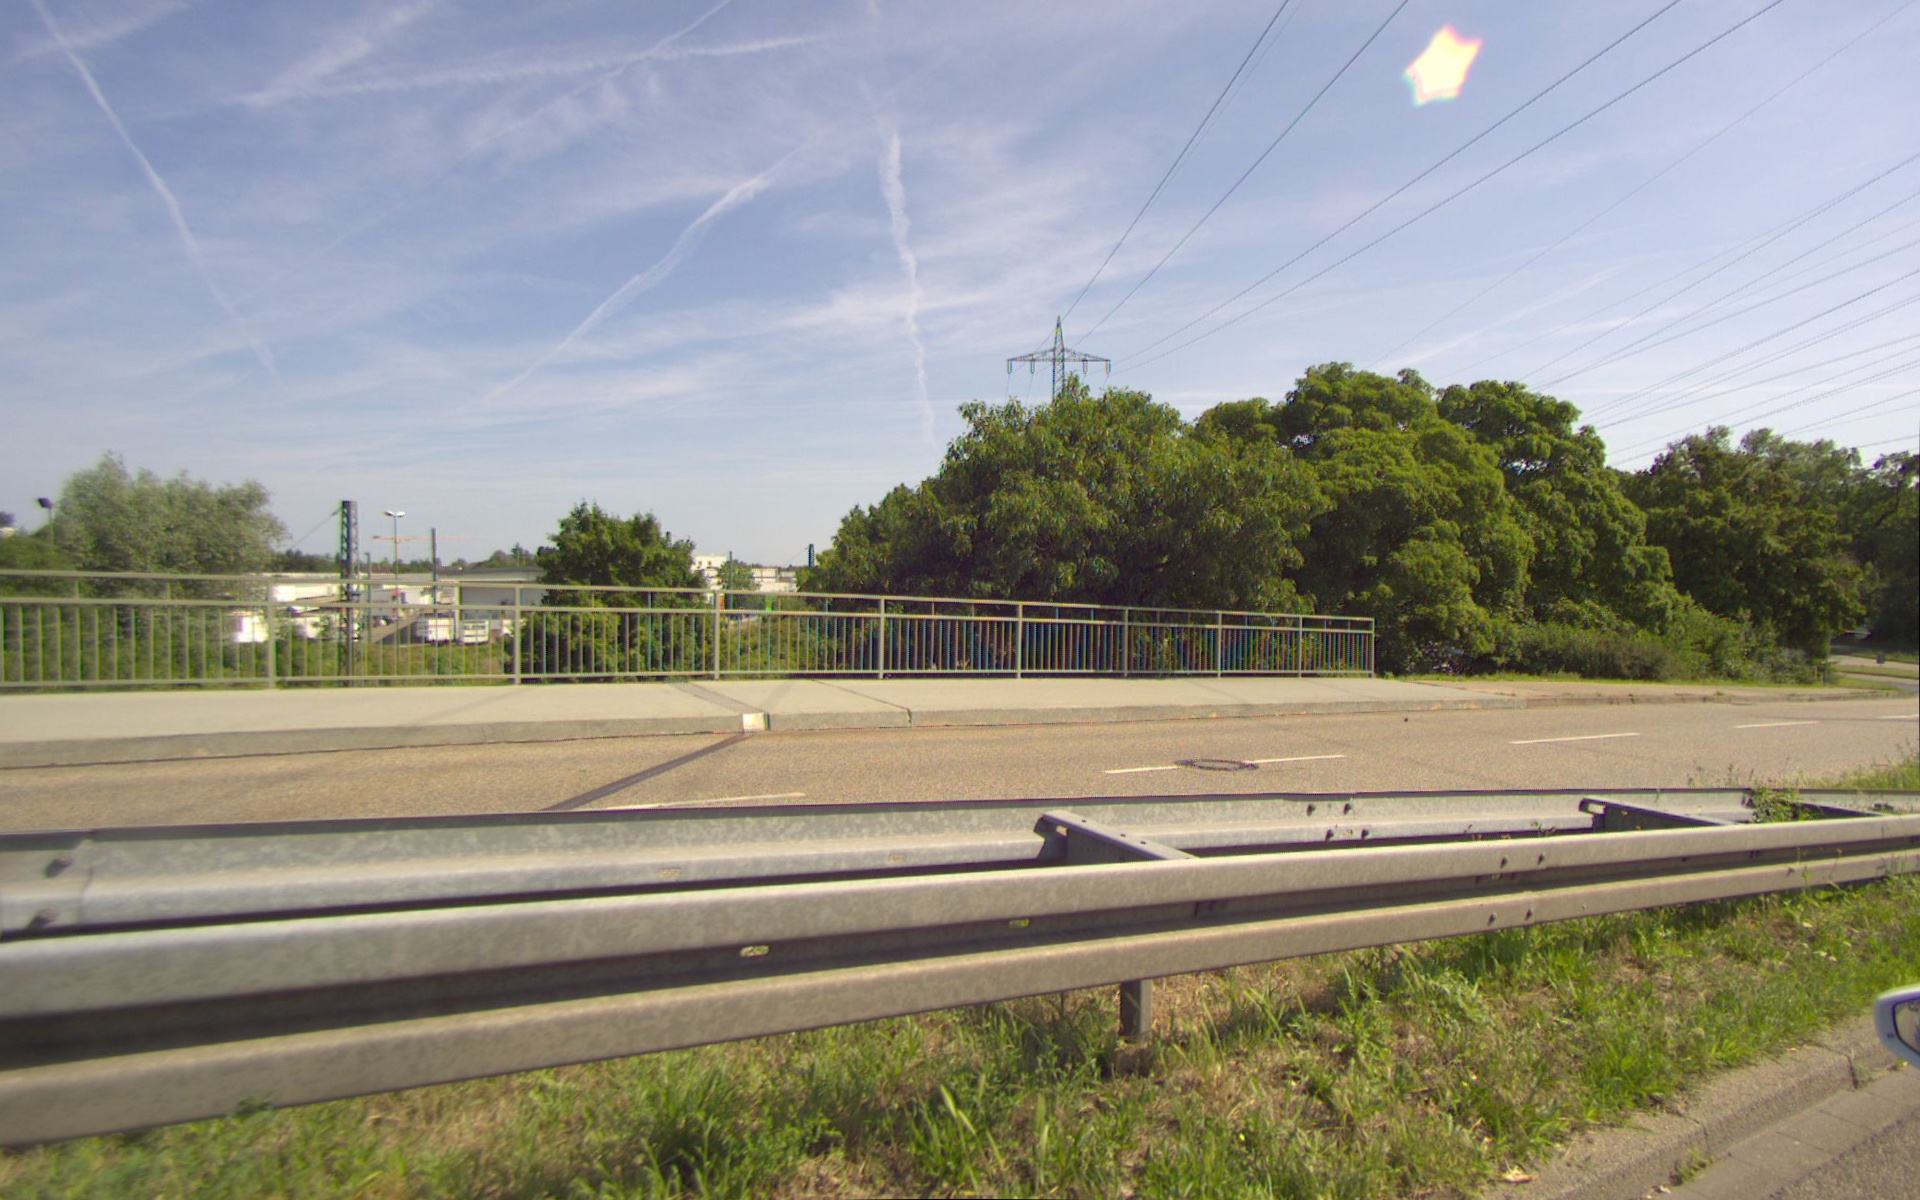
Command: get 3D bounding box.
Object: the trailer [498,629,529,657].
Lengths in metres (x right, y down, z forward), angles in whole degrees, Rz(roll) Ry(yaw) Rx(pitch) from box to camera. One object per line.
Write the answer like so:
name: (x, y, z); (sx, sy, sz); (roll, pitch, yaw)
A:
trailer: (-51.862, 4.919, 116.570); (2.585, 2.848, 6.724); (-1, 1, -30)

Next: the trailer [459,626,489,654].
trailer: (-54.952, 4.516, 113.566); (2.585, 2.848, 6.724); (-1, 1, -30)

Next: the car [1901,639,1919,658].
car: (86.594, 4.368, 89.782); (1.619, 1.587, 3.657); (-1, 0, 1)

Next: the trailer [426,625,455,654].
trailer: (-57.497, 4.305, 111.163); (2.585, 2.848, 6.724); (-1, 1, -30)
